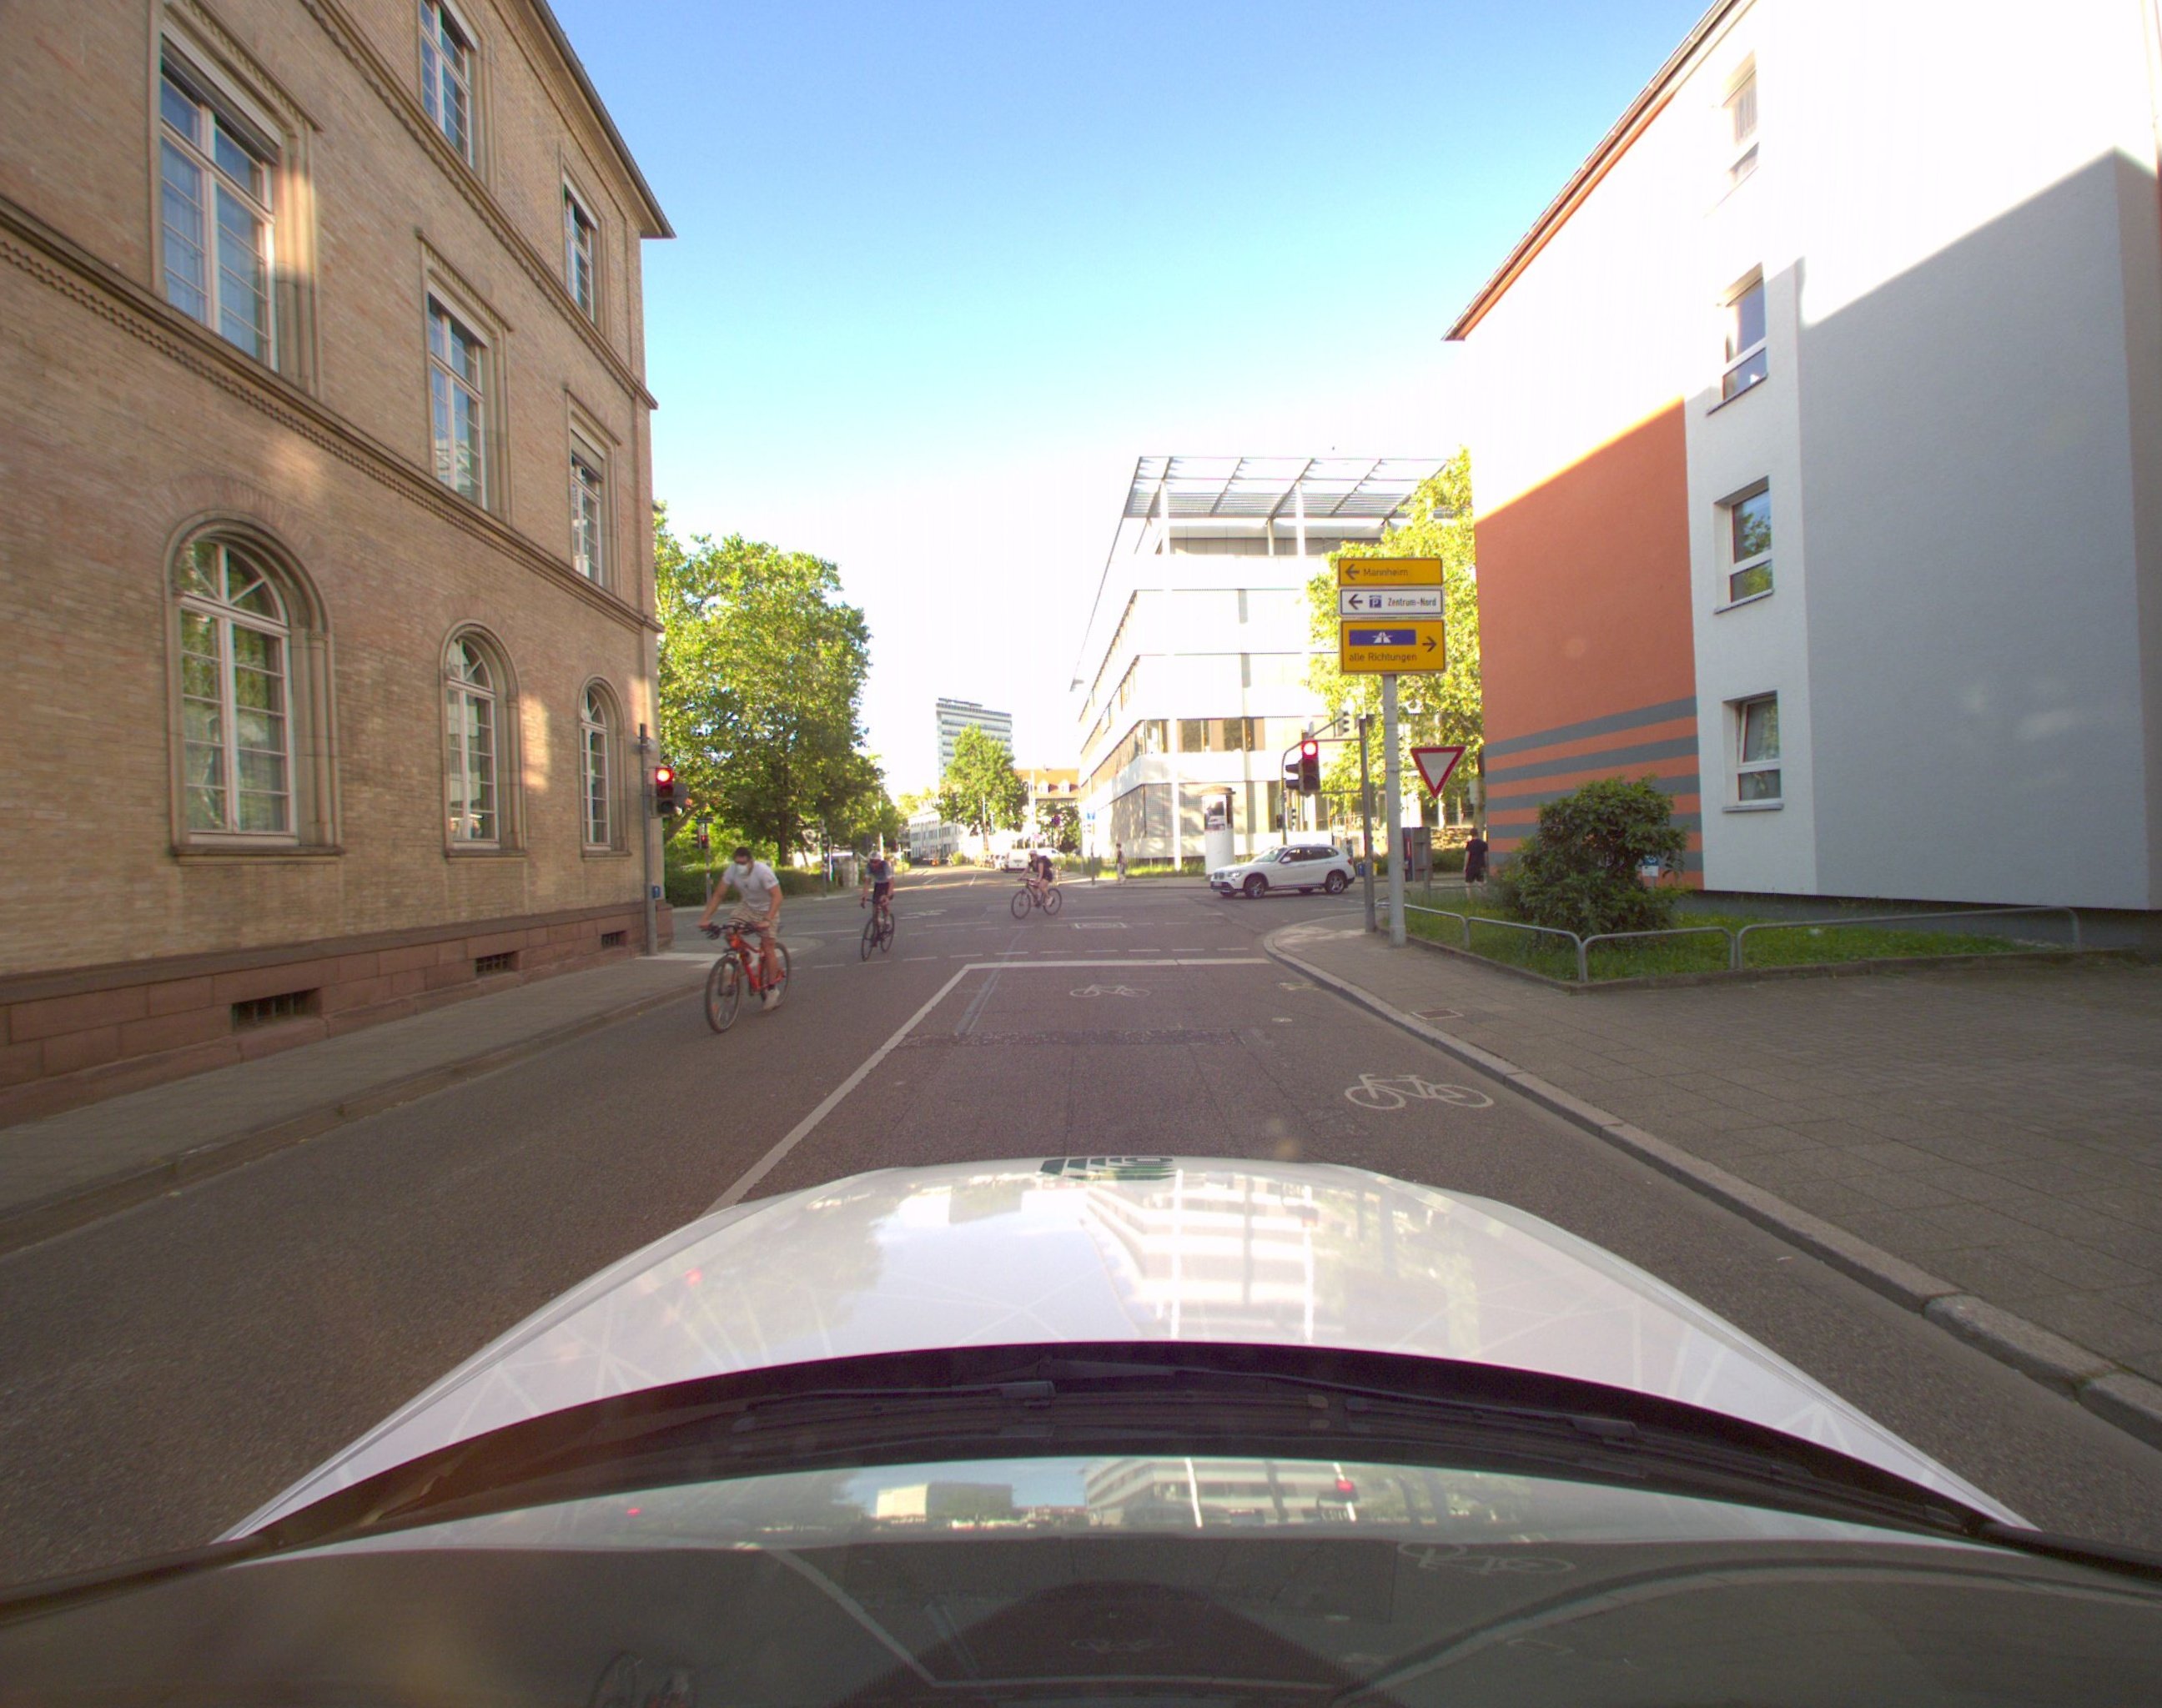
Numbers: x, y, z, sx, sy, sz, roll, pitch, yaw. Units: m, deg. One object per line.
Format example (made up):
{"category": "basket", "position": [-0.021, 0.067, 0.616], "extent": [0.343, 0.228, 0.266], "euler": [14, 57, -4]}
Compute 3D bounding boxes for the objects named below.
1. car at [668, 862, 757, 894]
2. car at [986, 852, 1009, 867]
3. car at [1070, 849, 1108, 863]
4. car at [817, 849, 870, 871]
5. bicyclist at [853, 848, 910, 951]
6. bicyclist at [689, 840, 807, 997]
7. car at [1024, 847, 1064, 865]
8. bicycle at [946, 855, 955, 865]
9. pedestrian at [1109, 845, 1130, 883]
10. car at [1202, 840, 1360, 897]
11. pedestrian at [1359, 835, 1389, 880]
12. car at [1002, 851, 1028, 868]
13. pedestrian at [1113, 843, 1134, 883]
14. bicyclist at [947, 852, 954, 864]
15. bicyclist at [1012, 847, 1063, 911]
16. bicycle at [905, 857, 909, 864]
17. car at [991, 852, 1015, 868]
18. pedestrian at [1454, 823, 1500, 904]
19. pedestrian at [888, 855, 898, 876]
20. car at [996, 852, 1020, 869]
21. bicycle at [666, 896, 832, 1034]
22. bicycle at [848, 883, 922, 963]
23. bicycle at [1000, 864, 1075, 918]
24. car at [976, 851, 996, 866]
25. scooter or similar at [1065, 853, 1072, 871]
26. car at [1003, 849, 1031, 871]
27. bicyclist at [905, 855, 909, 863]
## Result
{"category": "car", "position": [-17.085, 1.096, 37.913], "extent": [3.407, 1.457, 1.646], "euler": [0, -1, -8]}
{"category": "car", "position": [-8.888, 0.590, 86.390], "extent": [1.994, 1.499, 4.635], "euler": [0, -1, -10]}
{"category": "car", "position": [1.018, 0.253, 104.967], "extent": [4.644, 1.725, 1.990], "euler": [0, -1, -15]}
{"category": "car", "position": [-22.028, 0.529, 75.779], "extent": [4.441, 2.014, 1.995], "euler": [0, -1, -8]}
{"category": "bicyclist", "position": [-3.261, 0.722, 13.395], "extent": [0.623, 1.628, 0.827], "euler": [-2, 0, 4]}
{"category": "bicyclist", "position": [-3.438, 0.636, 8.478], "extent": [0.698, 1.522, 0.921], "euler": [-2, 0, 9]}
{"category": "car", "position": [-4.688, 0.271, 103.260], "extent": [4.802, 2.159, 1.989], "euler": [0, -1, -16]}
{"category": "bicycle", "position": [-15.859, 0.755, 98.984], "extent": [0.587, 1.152, 1.974], "euler": [-2, 0, 7]}
{"category": "pedestrian", "position": [1.745, 0.444, 36.533], "extent": [0.758, 1.719, 0.651], "euler": [-1, -1, 21]}
{"category": "car", "position": [6.010, 0.405, 24.548], "extent": [4.367, 1.514, 1.708], "euler": [-2, 0, -18]}
{"category": "pedestrian", "position": [12.023, 0.136, 33.479], "extent": [0.913, 1.815, 0.760], "euler": [0, -1, -6]}
{"category": "car", "position": [-5.850, 0.479, 71.364], "extent": [1.993, 1.499, 4.638], "euler": [0, -1, -8]}
{"category": "pedestrian", "position": [1.945, 0.412, 37.403], "extent": [0.758, 1.795, 0.651], "euler": [-1, -1, 21]}
{"category": "bicyclist", "position": [-15.875, 0.516, 98.967], "extent": [0.587, 1.396, 0.749], "euler": [-2, 0, 7]}
{"category": "bicyclist", "position": [-1.029, 0.581, 19.373], "extent": [0.620, 1.446, 0.980], "euler": [-2, 0, 45]}
{"category": "bicycle", "position": [-29.257, 1.154, 137.017], "extent": [0.616, 1.152, 1.961], "euler": [-2, 0, -13]}
{"category": "car", "position": [-7.846, 0.585, 81.637], "extent": [1.994, 1.499, 4.270], "euler": [0, -1, -11]}
{"category": "pedestrian", "position": [9.011, 0.215, 18.527], "extent": [0.723, 1.810, 0.693], "euler": [0, -1, -39]}
{"category": "pedestrian", "position": [-14.609, 0.909, 63.245], "extent": [0.700, 1.587, 0.633], "euler": [0, -1, -14]}
{"category": "car", "position": [-6.923, 0.608, 77.164], "extent": [1.993, 1.499, 4.638], "euler": [0, -1, -8]}
{"category": "bicycle", "position": [-3.399, 1.092, 8.565], "extent": [0.622, 1.152, 1.975], "euler": [-2, 0, 10]}
{"category": "bicycle", "position": [-3.230, 1.100, 13.569], "extent": [0.623, 1.152, 1.786], "euler": [-2, 0, 5]}
{"category": "bicycle", "position": [-1.022, 0.864, 19.369], "extent": [0.620, 1.152, 1.795], "euler": [-2, 0, 44]}
{"category": "car", "position": [-11.305, 0.536, 96.314], "extent": [1.995, 1.725, 4.633], "euler": [0, -1, -11]}
{"category": "scooter or similar", "position": [-0.916, 0.582, 58.487], "extent": [0.436, 1.256, 1.418], "euler": [-2, 0, -2]}
{"category": "car", "position": [-5.175, 0.469, 65.129], "extent": [1.992, 1.725, 4.640], "euler": [0, -1, -7]}
{"category": "bicyclist", "position": [-29.258, 0.835, 136.980], "extent": [0.616, 1.472, 0.737], "euler": [-2, 0, -13]}
